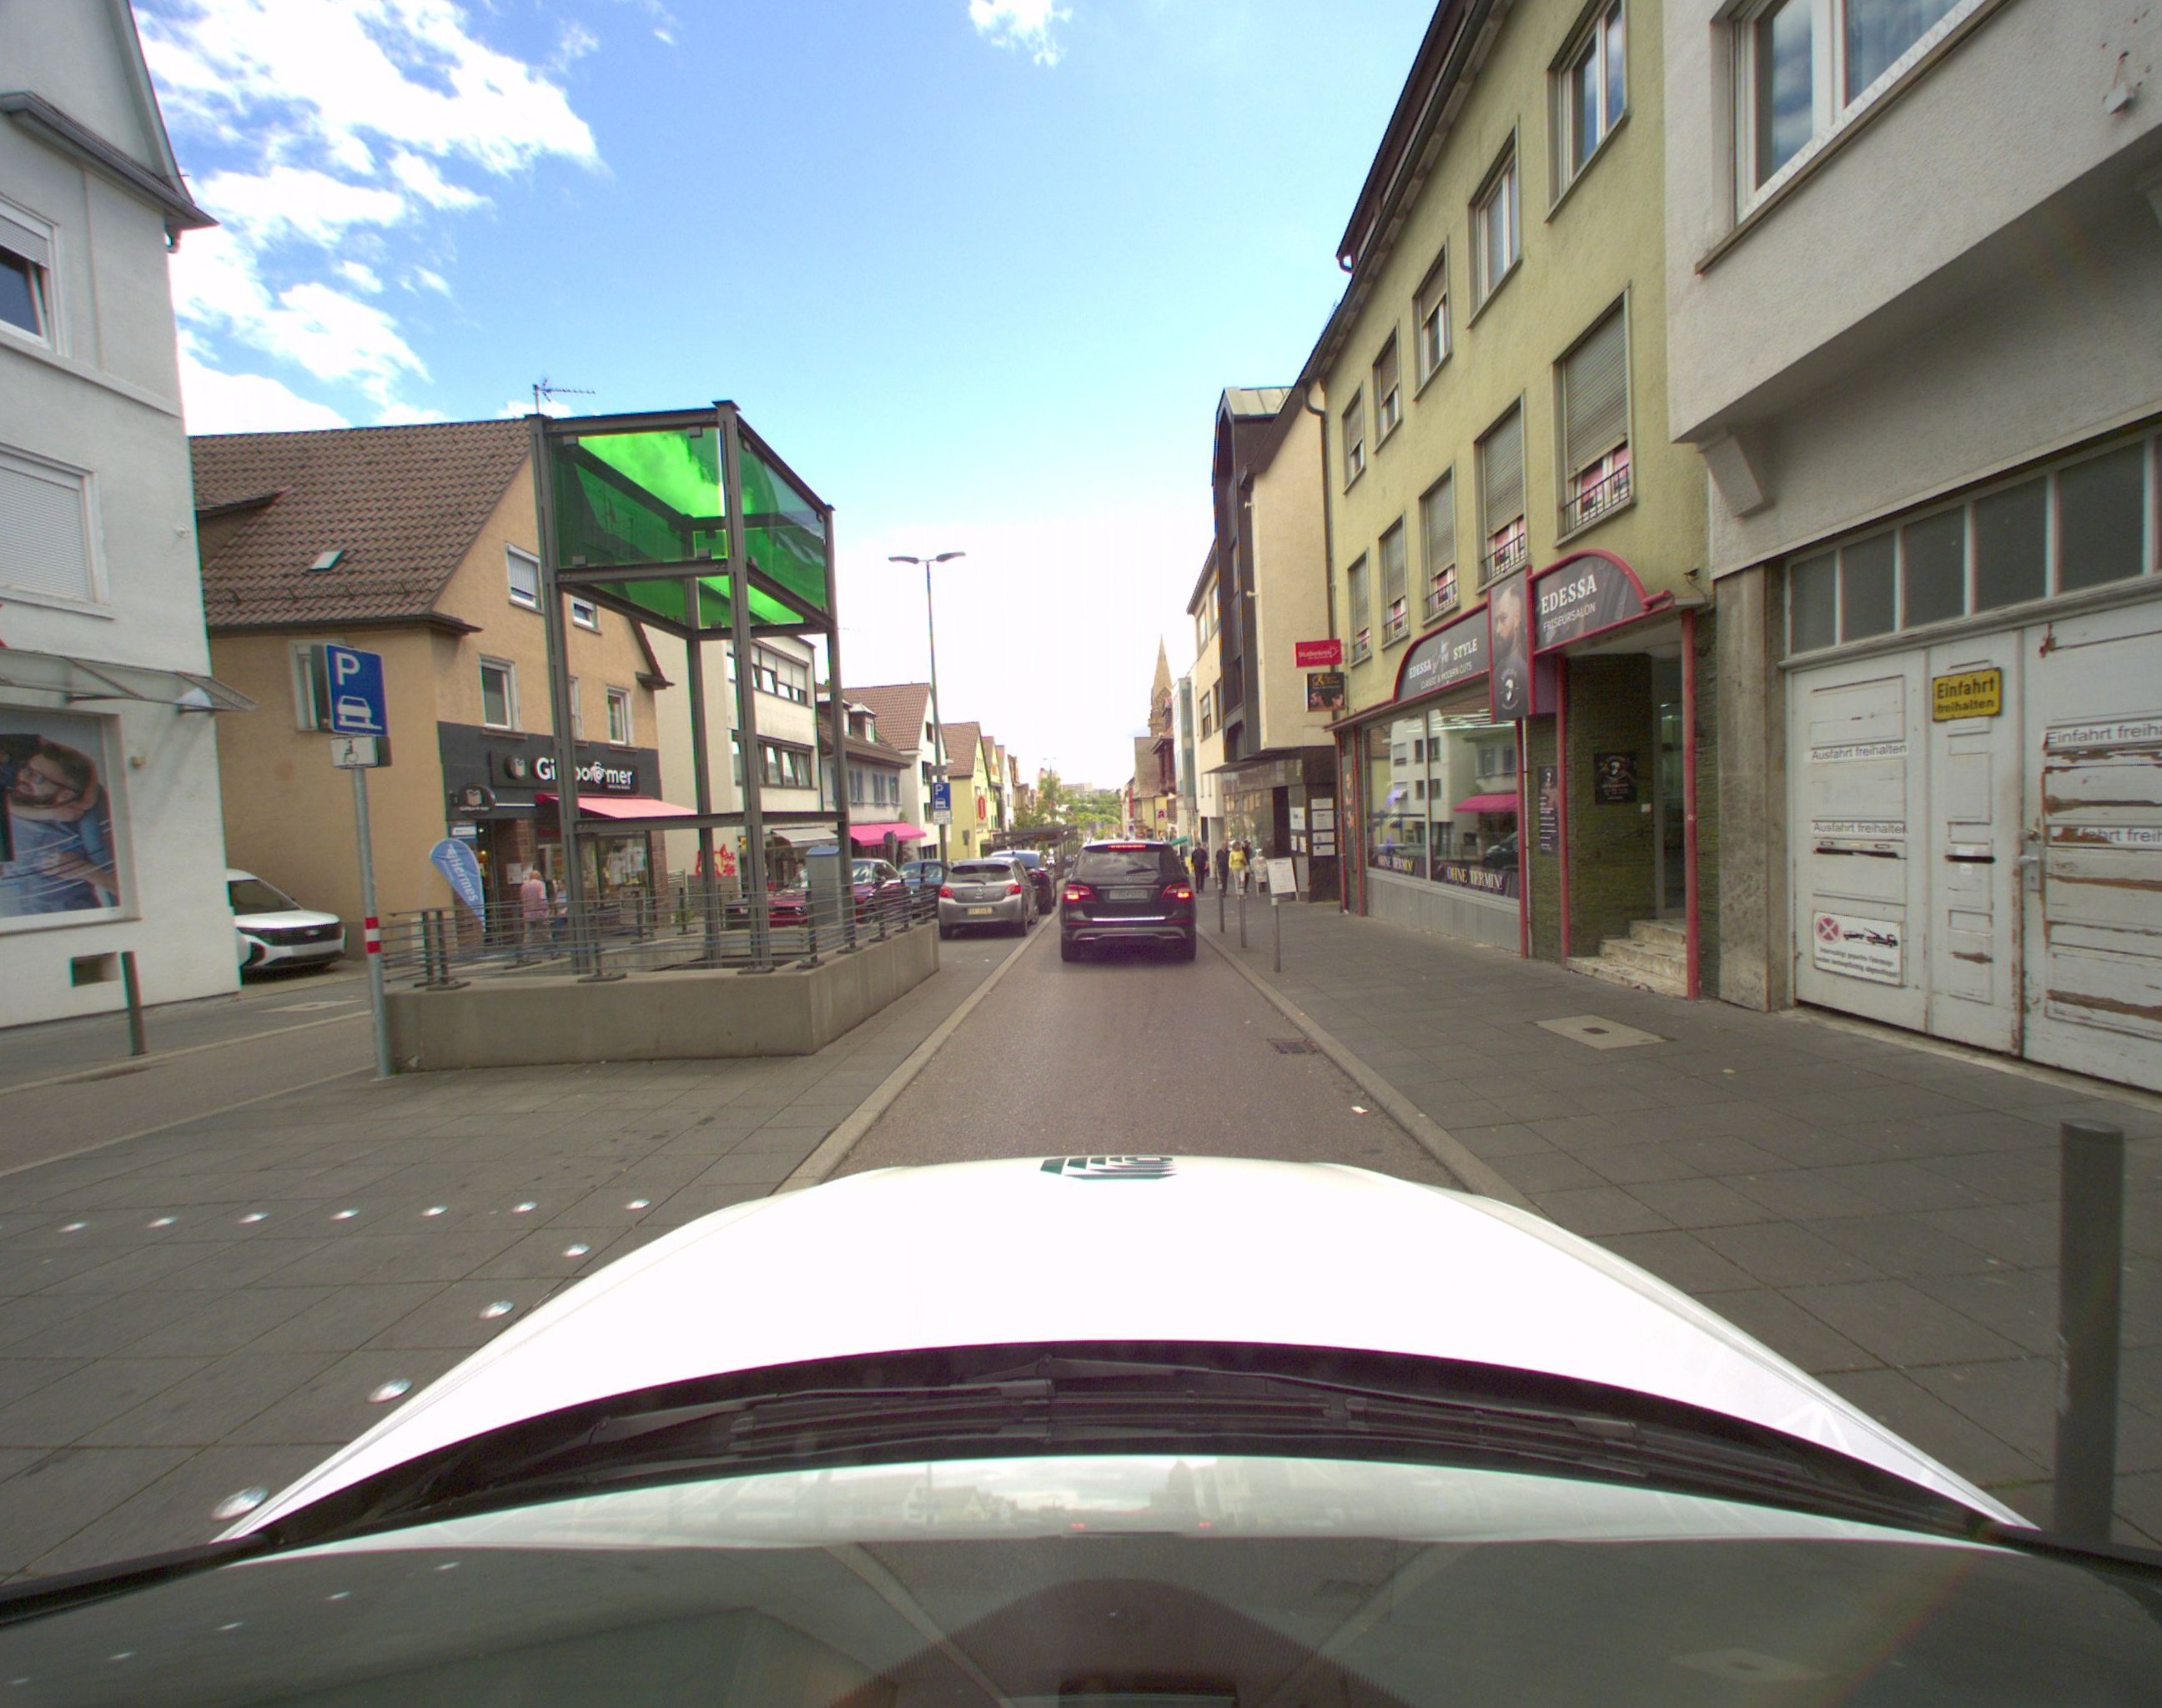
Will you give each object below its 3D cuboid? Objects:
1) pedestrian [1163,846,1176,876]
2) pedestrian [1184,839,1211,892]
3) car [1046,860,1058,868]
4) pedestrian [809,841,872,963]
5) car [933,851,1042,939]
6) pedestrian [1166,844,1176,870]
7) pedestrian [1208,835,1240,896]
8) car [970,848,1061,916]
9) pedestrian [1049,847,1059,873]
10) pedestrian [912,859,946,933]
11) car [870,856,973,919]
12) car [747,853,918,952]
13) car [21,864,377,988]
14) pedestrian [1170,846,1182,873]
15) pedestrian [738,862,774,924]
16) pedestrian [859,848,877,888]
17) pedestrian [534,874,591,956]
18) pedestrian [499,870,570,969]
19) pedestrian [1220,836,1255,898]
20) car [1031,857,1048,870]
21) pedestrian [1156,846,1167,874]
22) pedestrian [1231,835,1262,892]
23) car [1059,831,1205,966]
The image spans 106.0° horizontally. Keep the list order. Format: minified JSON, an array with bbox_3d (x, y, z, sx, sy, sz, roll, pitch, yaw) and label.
[{"bbox_3d":[5.134,0.416,47.246,0.620,1.689,0.565,-1,0,-5],"label":"pedestrian"},{"bbox_3d":[3.961,0.390,27.770,0.708,1.753,0.787,-4,0,1],"label":"pedestrian"},{"bbox_3d":[-4.205,1.377,117.952,1.383,1.070,3.114,-3,0,2],"label":"car"},{"bbox_3d":[-3.445,0.659,11.736,0.531,1.672,0.902,-2,0,5],"label":"pedestrian"},{"bbox_3d":[-1.744,0.734,16.270,1.614,1.532,3.672,-1,0,2],"label":"car"},{"bbox_3d":[5.900,0.189,53.316,0.572,1.689,0.565,-1,0,-5],"label":"pedestrian"},{"bbox_3d":[4.305,0.340,24.554,0.708,1.753,0.785,-4,0,1],"label":"pedestrian"},{"bbox_3d":[-1.639,0.681,21.842,1.949,1.639,4.316,-1,0,2],"label":"car"},{"bbox_3d":[-1.835,0.401,54.970,0.611,1.689,0.561,-1,0,-8],"label":"pedestrian"},{"bbox_3d":[-3.049,0.838,16.351,0.464,1.431,0.492,-4,0,1],"label":"pedestrian"},{"bbox_3d":[-4.153,0.829,21.823,1.731,1.475,3.889,0,1,4],"label":"car"},{"bbox_3d":[-4.354,0.778,15.001,1.732,1.543,4.195,-1,0,2],"label":"car"},{"bbox_3d":[-14.713,1.149,13.753,4.053,1.873,1.885,-1,-1,3],"label":"car"},{"bbox_3d":[6.144,0.379,52.469,0.572,1.689,0.565,-4,0,-5],"label":"pedestrian"},{"bbox_3d":[-9.186,1.091,23.023,0.638,1.689,0.670,-2,1,41],"label":"pedestrian"},{"bbox_3d":[-9.221,0.597,35.249,0.576,1.689,0.577,-1,0,1],"label":"pedestrian"},{"bbox_3d":[-10.516,1.214,16.539,0.563,1.573,0.717,-4,0,2],"label":"pedestrian"},{"bbox_3d":[-9.719,1.146,14.506,0.636,1.689,0.829,-2,0,6],"label":"pedestrian"},{"bbox_3d":[4.339,0.348,22.615,0.708,1.631,0.835,-4,0,2],"label":"pedestrian"},{"bbox_3d":[-4.801,1.063,95.393,1.654,1.490,3.749,-1,0,2],"label":"car"},{"bbox_3d":[5.079,0.397,51.216,0.541,1.726,0.527,-3,0,-5],"label":"pedestrian"},{"bbox_3d":[5.189,0.294,25.514,0.662,1.689,0.542,-6,0,-5],"label":"pedestrian"},{"bbox_3d":[0.678,0.588,12.708,1.894,1.747,3.999,-1,0,0],"label":"car"}]
